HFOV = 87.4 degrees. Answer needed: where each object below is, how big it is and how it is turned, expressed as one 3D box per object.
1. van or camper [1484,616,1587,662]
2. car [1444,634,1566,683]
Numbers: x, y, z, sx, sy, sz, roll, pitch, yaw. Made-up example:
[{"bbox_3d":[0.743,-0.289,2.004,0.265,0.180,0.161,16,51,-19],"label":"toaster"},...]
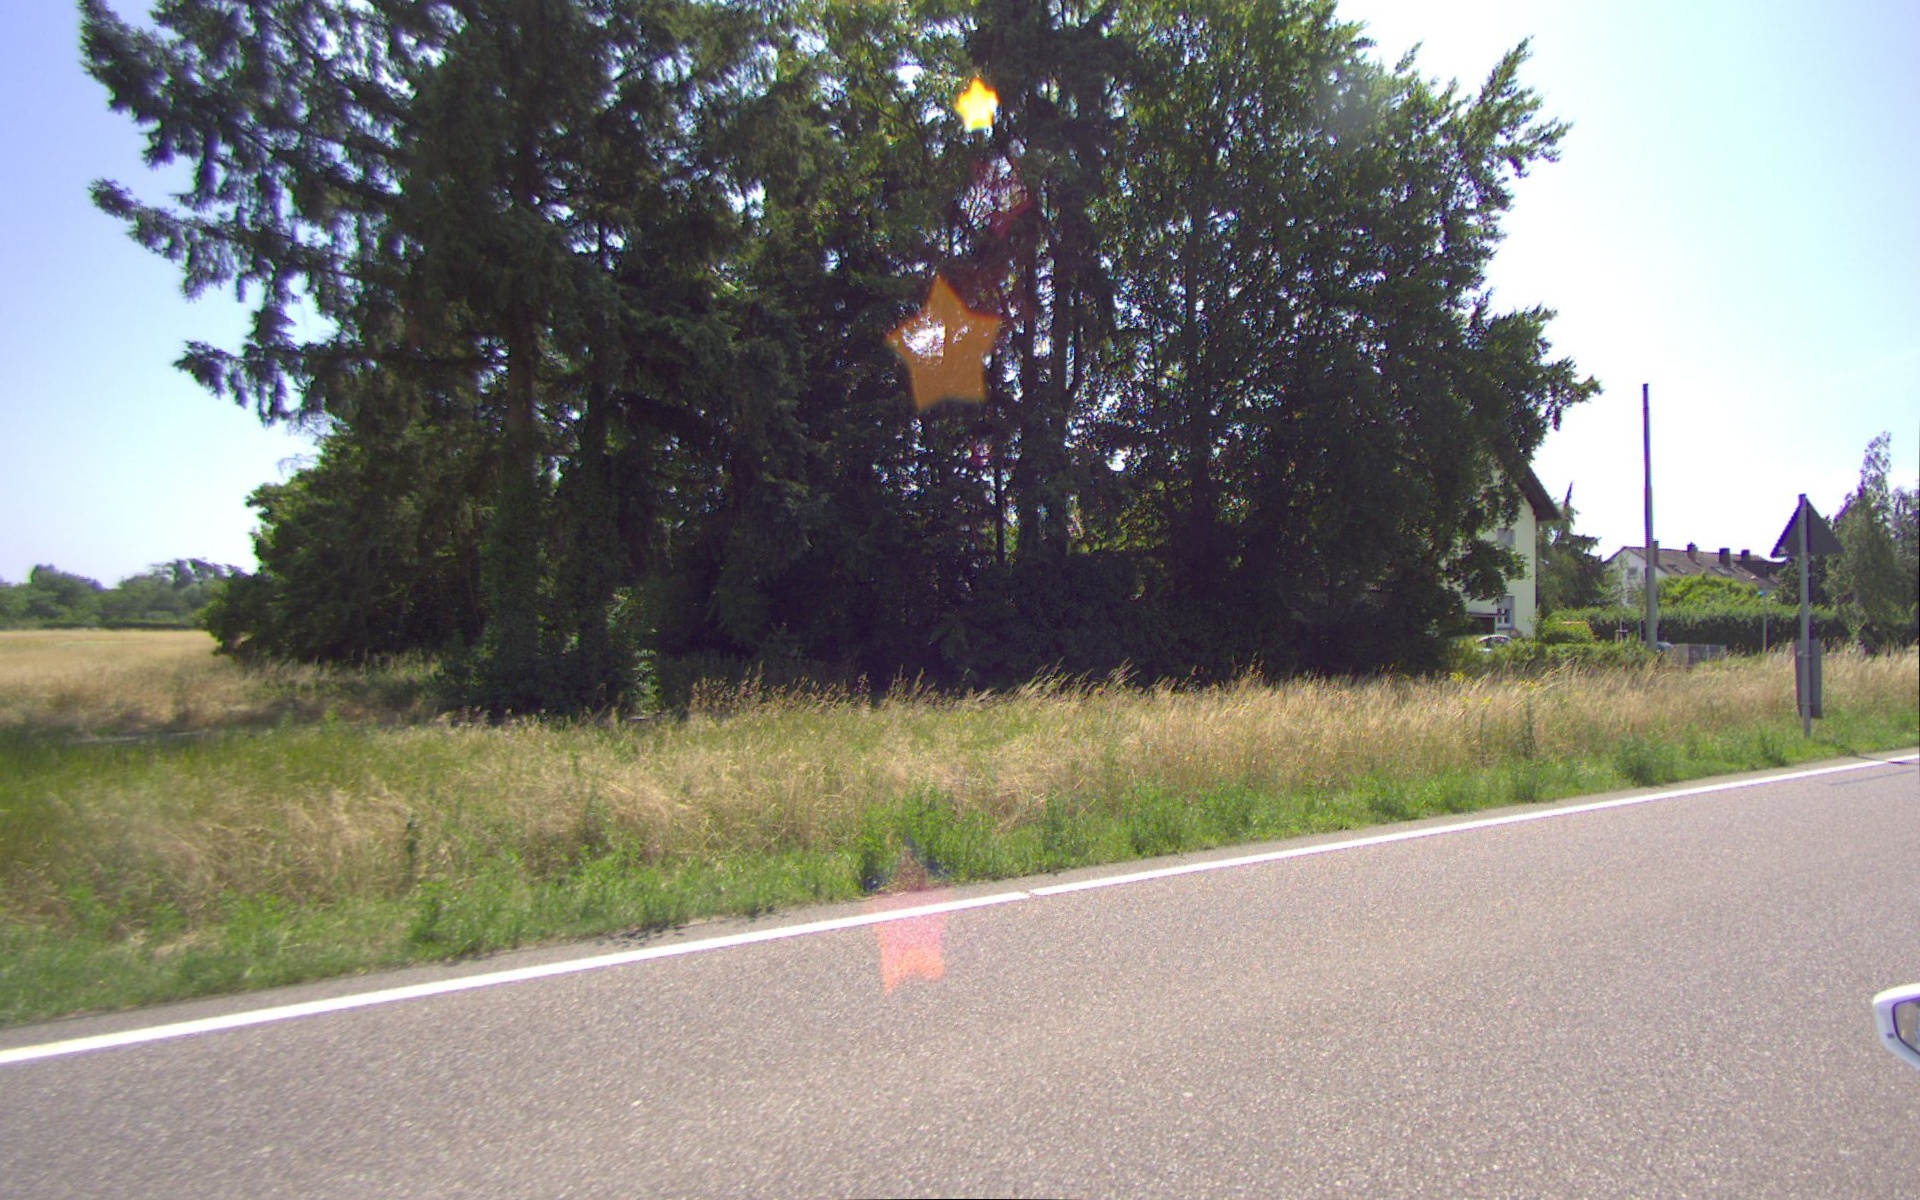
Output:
[{"bbox_3d":[32.726,2.167,57.218,1.979,2.420,4.725,1,-1,-33],"label":"van or camper"},{"bbox_3d":[18.206,1.926,33.525,4.138,1.511,1.698,2,-1,-31],"label":"car"}]
